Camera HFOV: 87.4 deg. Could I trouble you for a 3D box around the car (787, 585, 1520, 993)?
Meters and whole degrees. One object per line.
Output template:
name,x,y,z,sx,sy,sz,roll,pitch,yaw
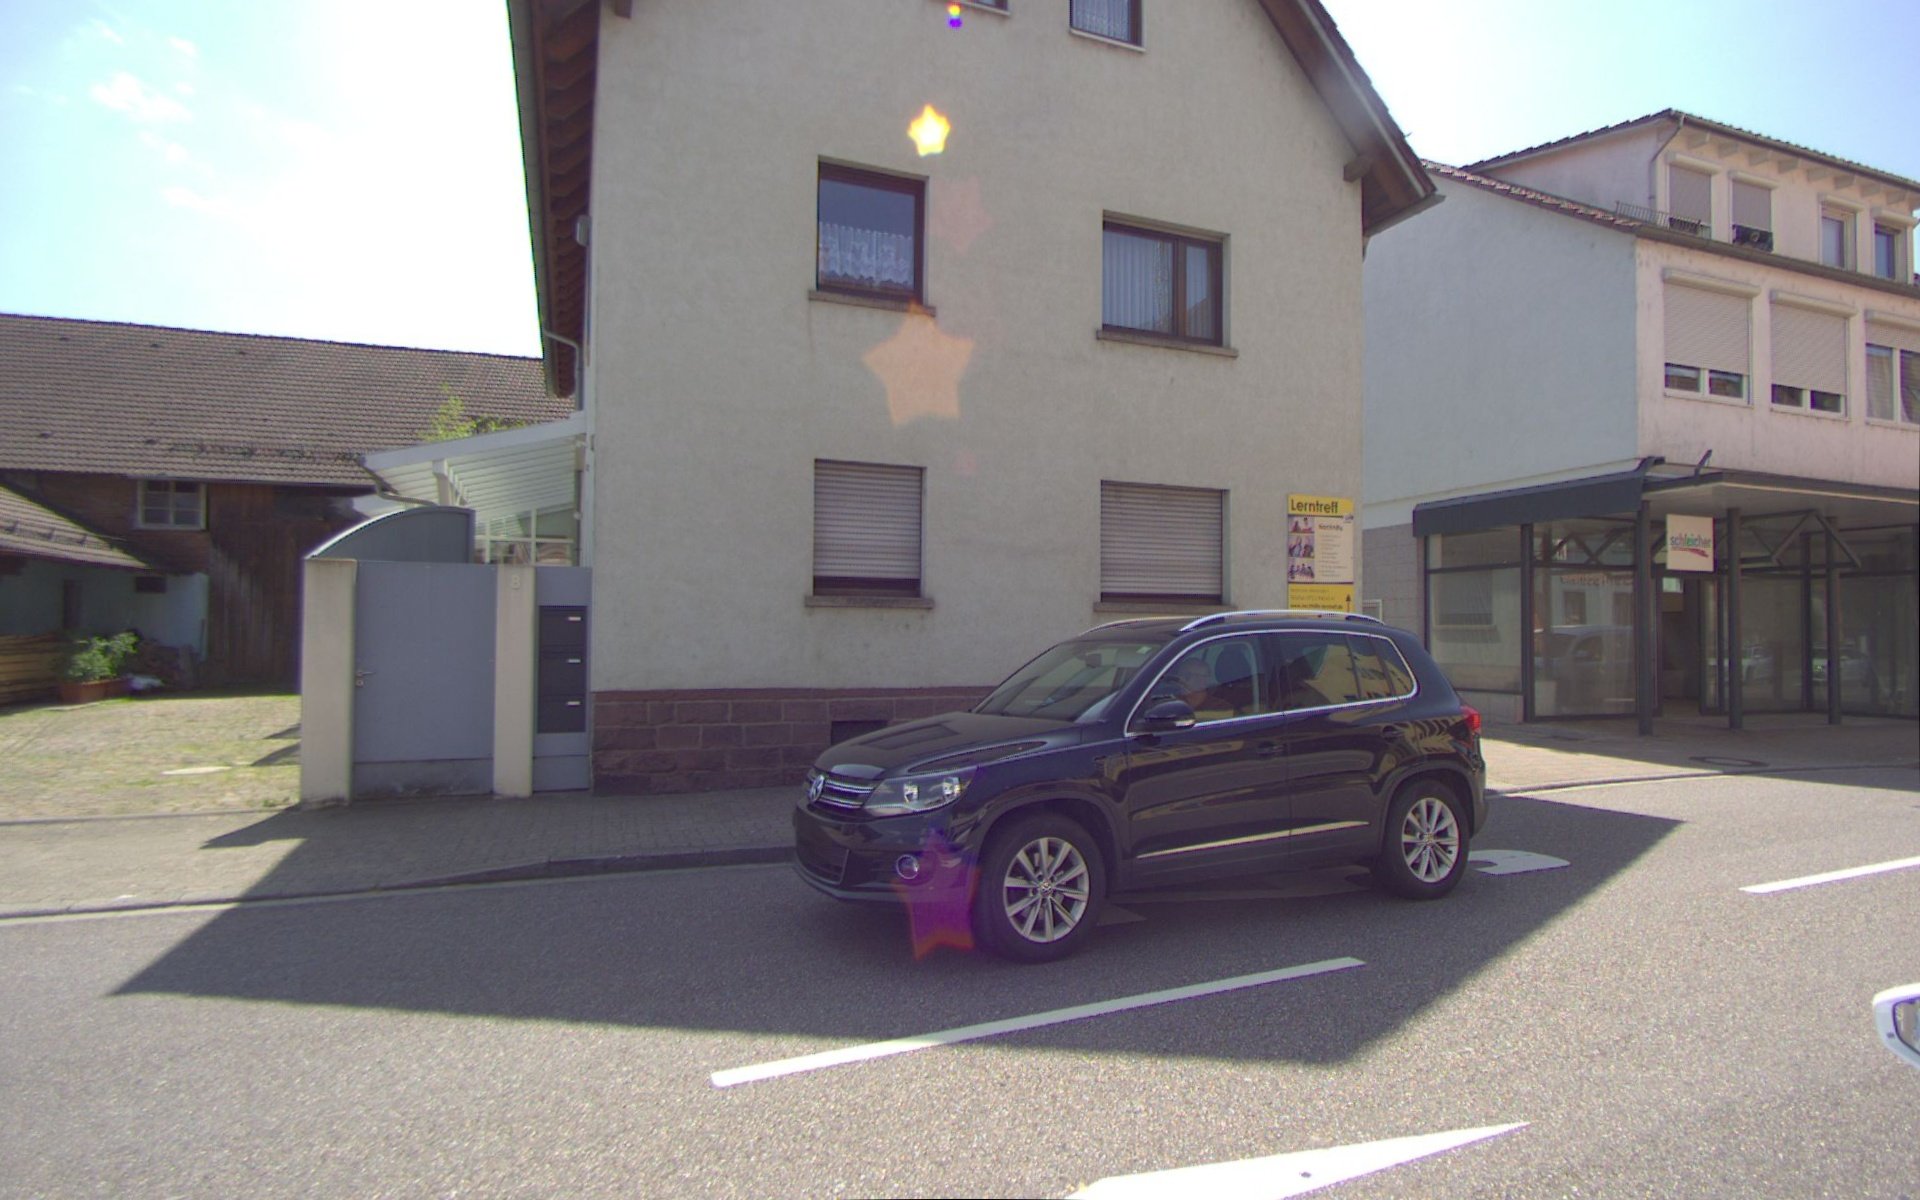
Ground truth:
car,1.186,0.847,5.932,4.058,1.721,1.686,0,-3,-26
